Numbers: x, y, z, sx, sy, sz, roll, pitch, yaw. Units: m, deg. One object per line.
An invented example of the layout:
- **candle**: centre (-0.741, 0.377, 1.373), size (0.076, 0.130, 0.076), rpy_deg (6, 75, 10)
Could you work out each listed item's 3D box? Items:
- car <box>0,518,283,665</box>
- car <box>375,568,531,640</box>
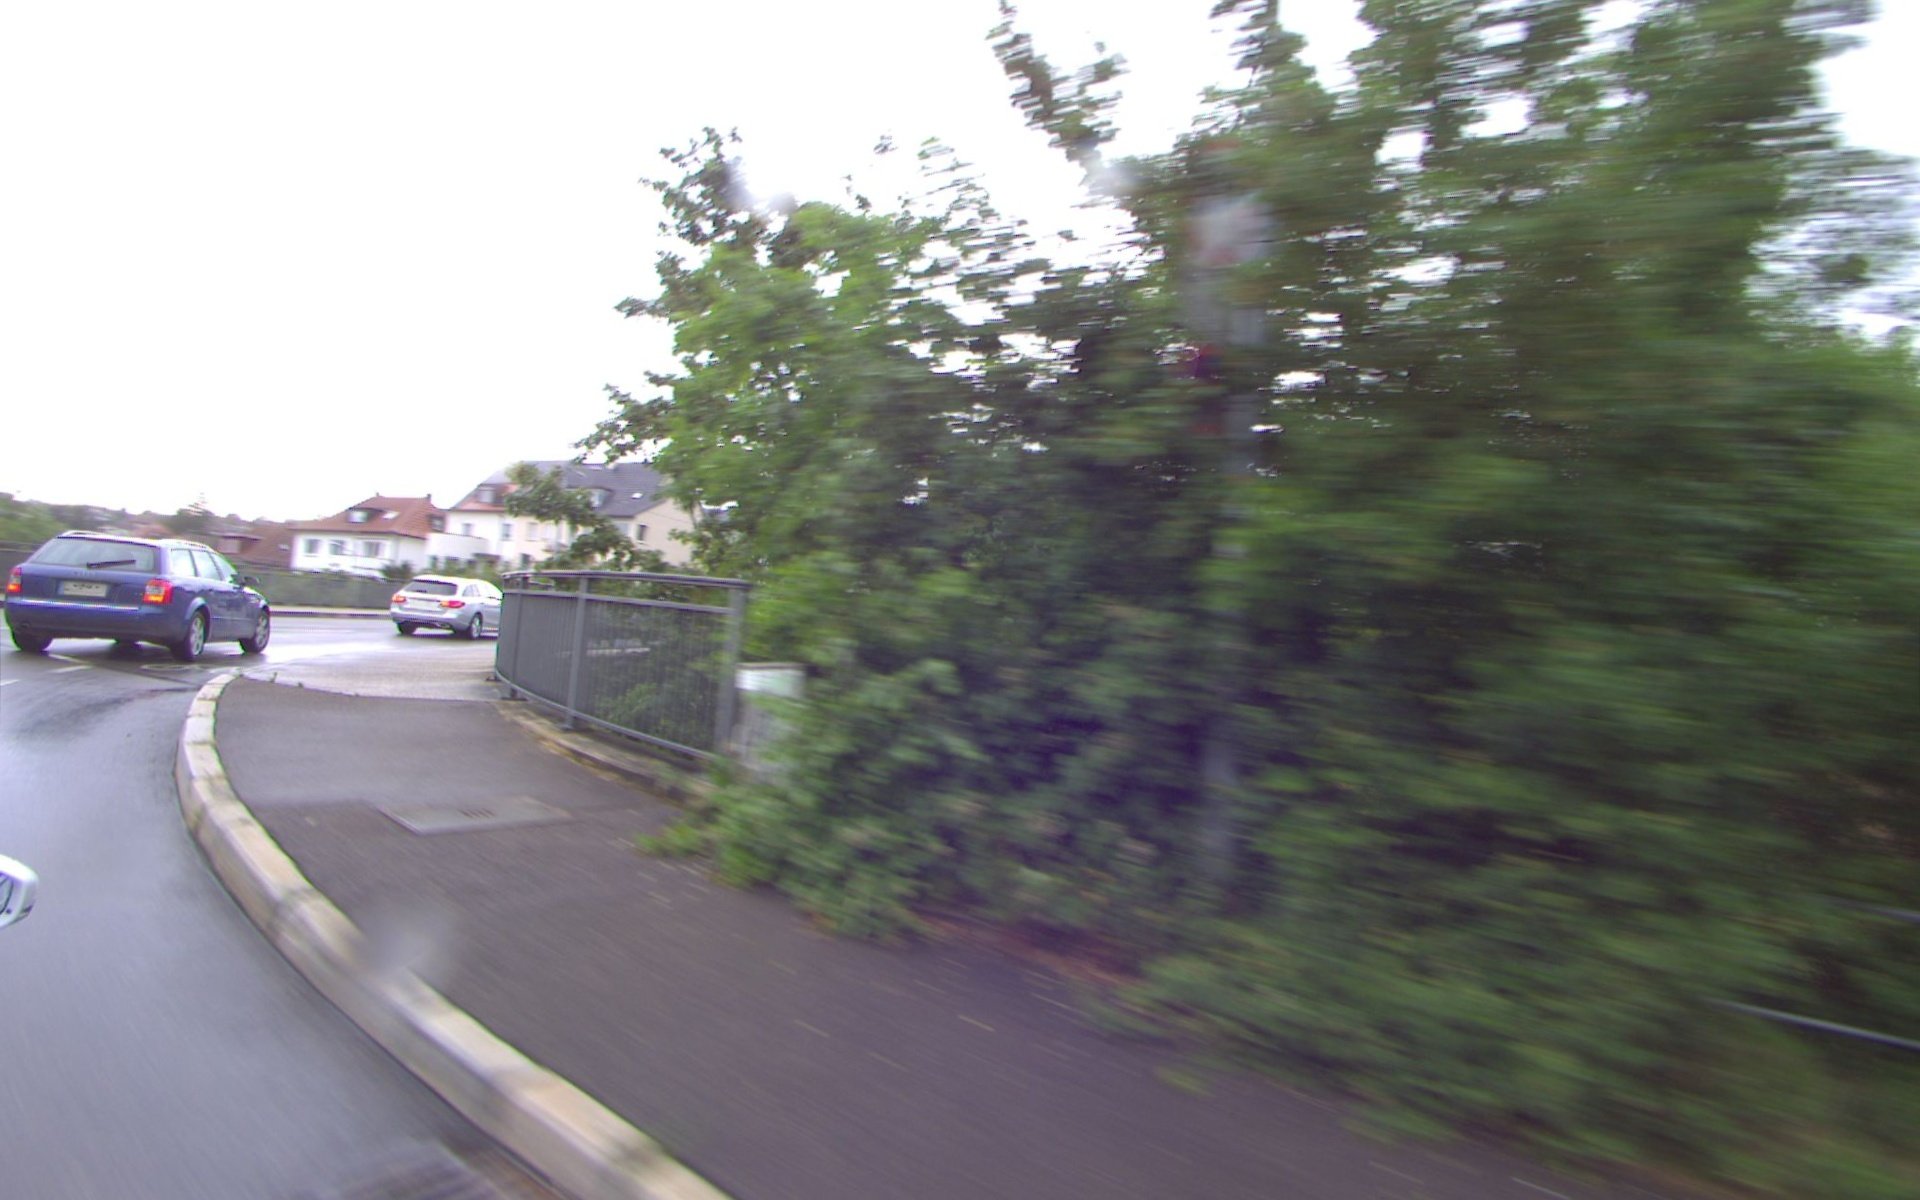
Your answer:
- **car**: centre (-10.403, -0.089, 12.931), size (1.728, 1.423, 3.985), rpy_deg (8, -2, -19)
- **car**: centre (-12.508, 0.184, 25.116), size (1.863, 1.404, 4.002), rpy_deg (8, -3, -3)
